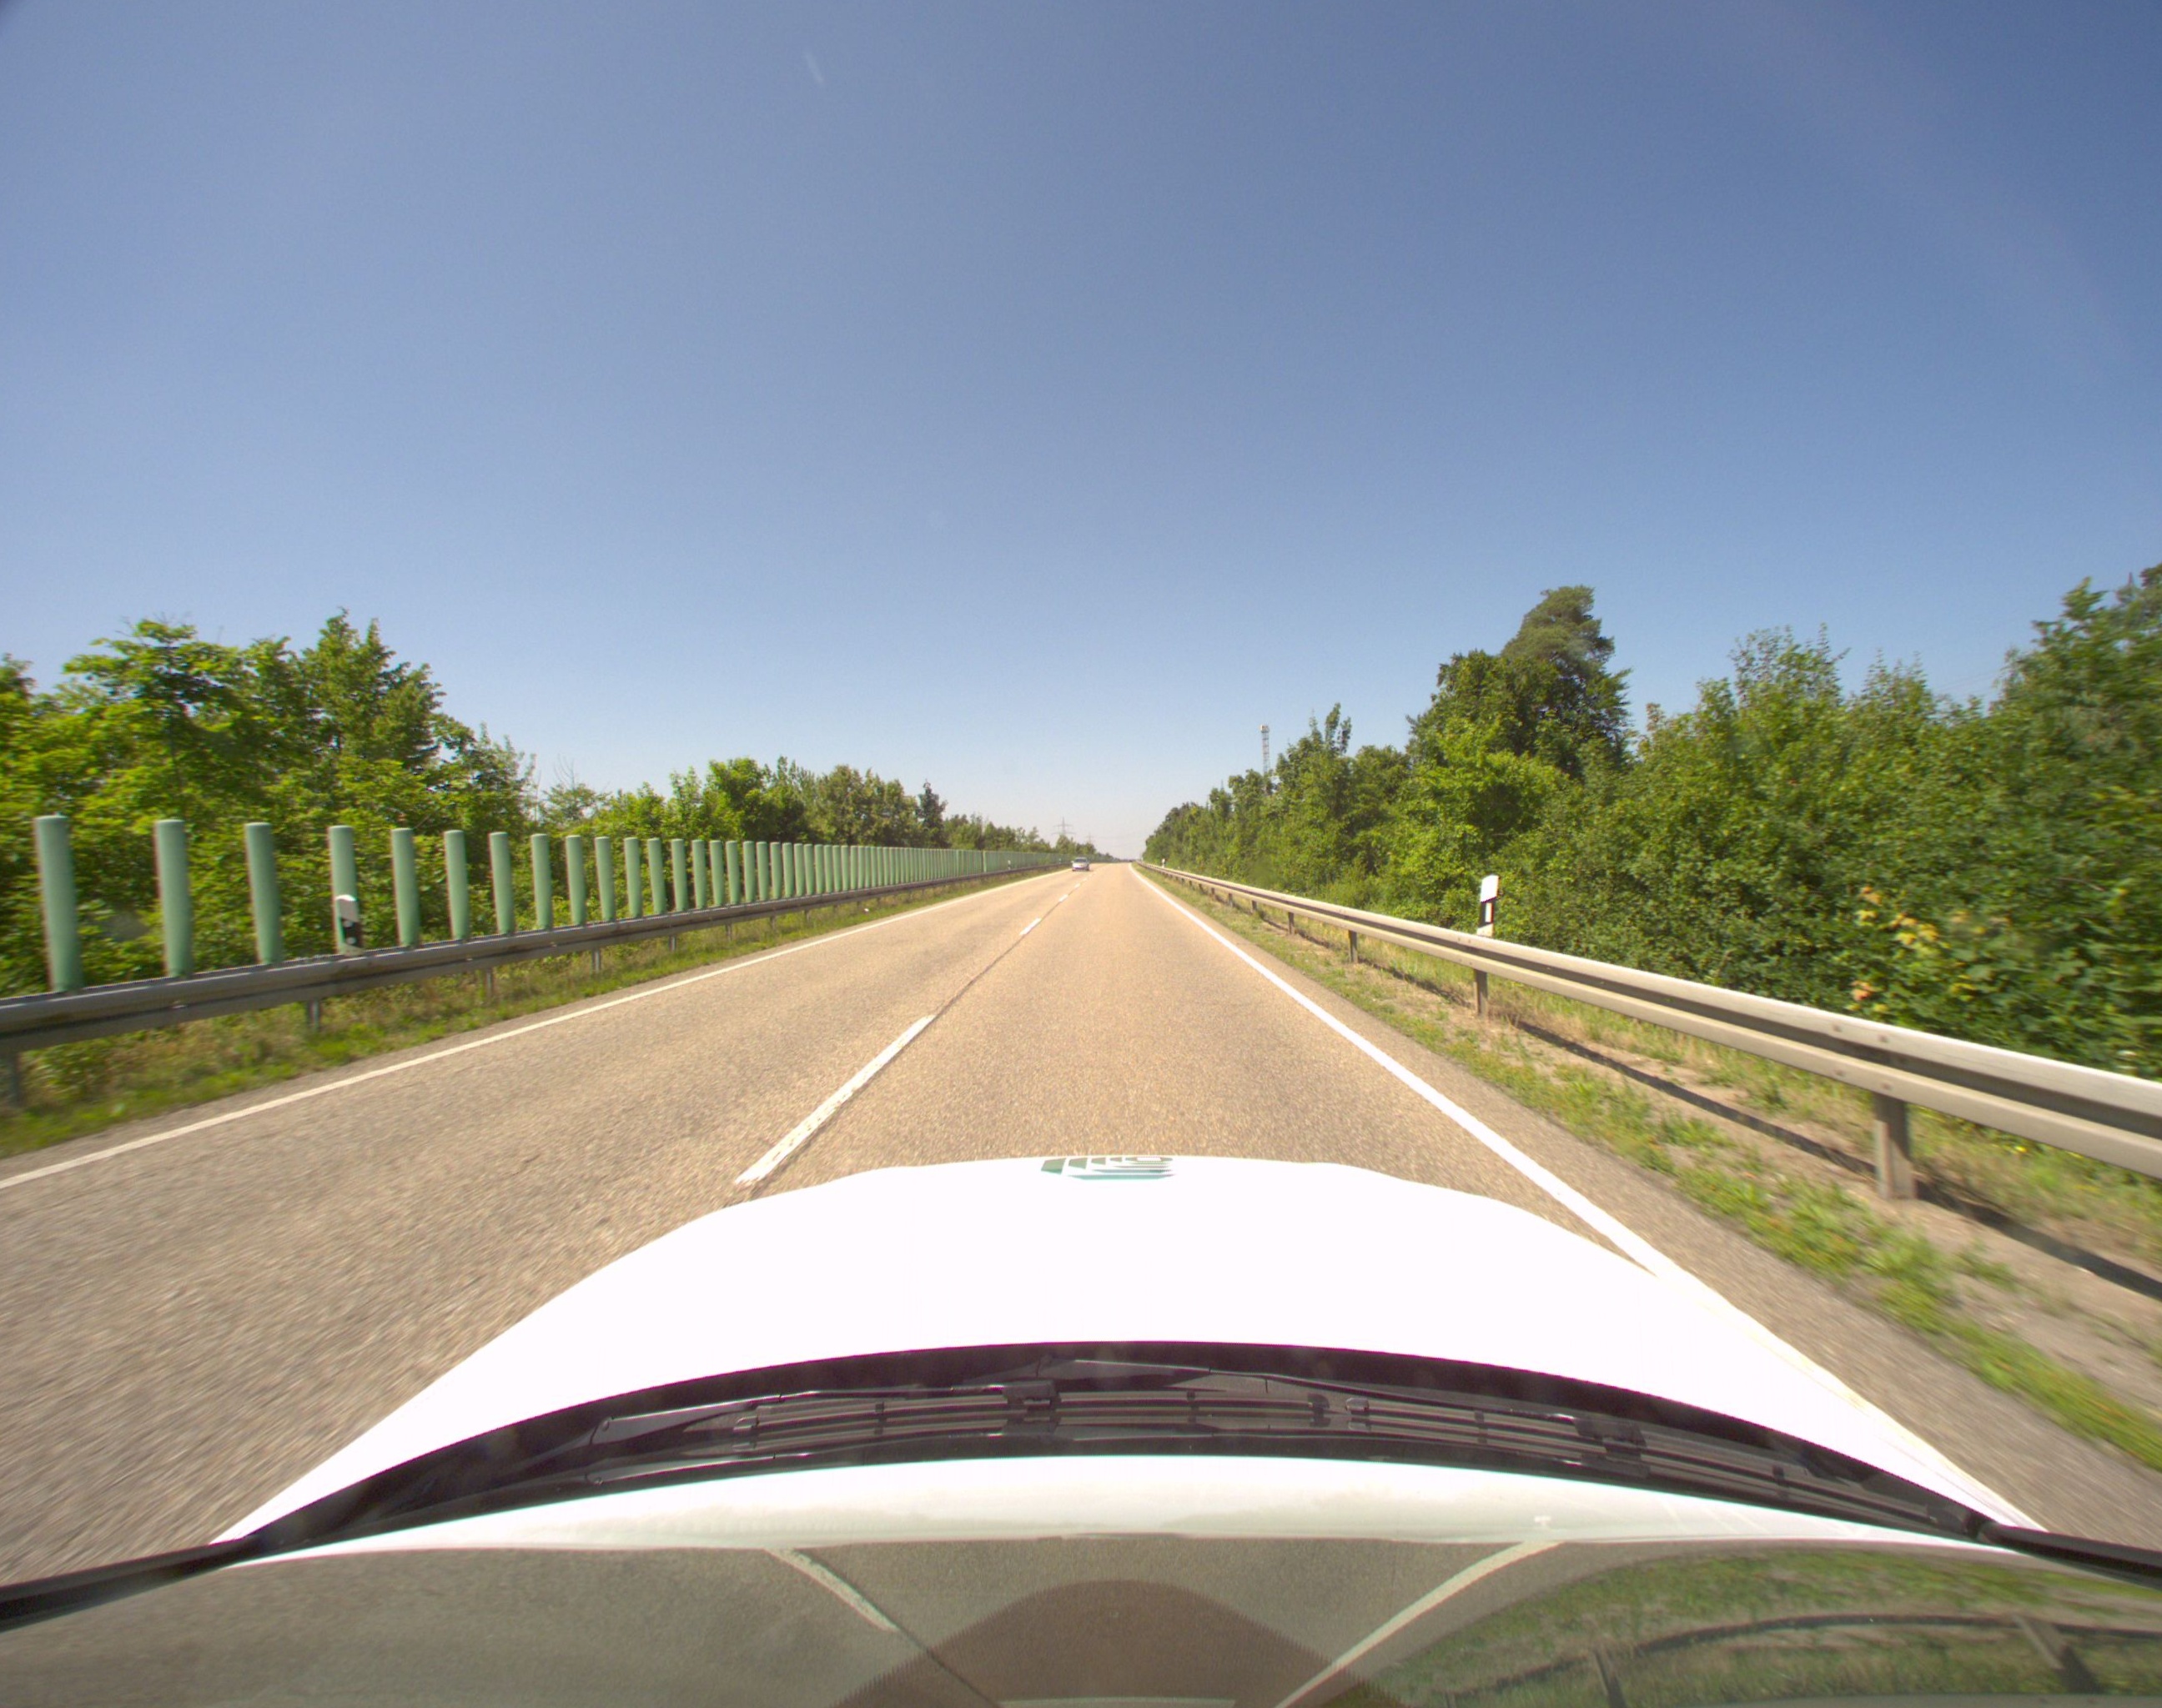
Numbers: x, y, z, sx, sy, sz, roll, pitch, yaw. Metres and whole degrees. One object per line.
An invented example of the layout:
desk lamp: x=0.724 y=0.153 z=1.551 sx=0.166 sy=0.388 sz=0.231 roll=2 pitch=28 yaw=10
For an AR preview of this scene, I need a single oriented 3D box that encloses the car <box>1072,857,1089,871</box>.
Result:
car: x=-0.033 y=1.065 z=88.382 sx=1.713 sy=1.501 sz=4.250 roll=-1 pitch=0 yaw=2
